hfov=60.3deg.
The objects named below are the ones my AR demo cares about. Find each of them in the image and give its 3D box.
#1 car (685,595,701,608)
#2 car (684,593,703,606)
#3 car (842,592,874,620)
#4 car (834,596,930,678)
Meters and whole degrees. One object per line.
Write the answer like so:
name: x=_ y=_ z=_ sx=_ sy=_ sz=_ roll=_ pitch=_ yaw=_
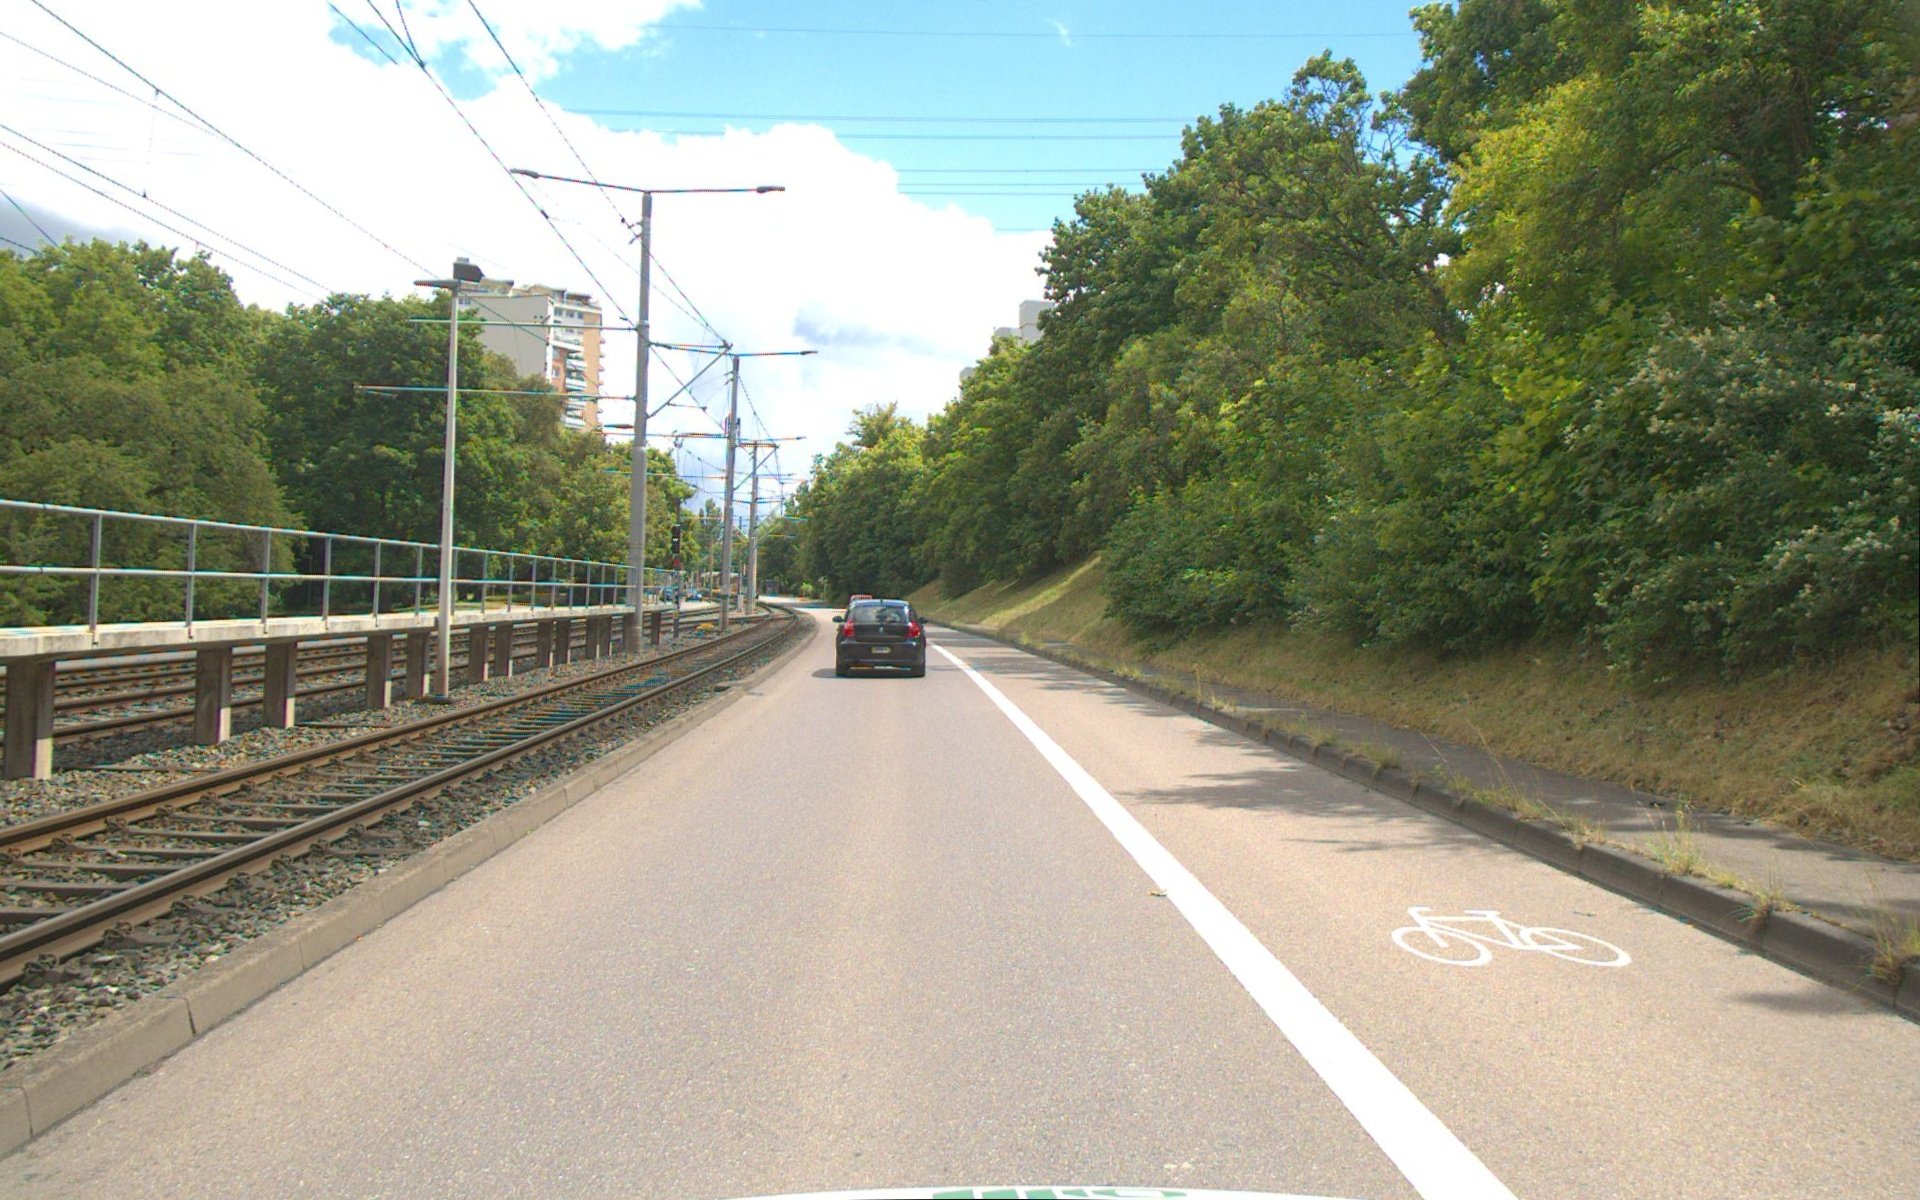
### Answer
car: x=-31.418 y=0.141 z=194.455 sx=1.742 sy=1.525 sz=3.986 roll=1 pitch=0 yaw=-11
car: x=-31.433 y=-0.077 z=195.243 sx=1.800 sy=1.415 sz=4.856 roll=-1 pitch=0 yaw=-5
car: x=-5.820 y=0.340 z=94.261 sx=1.746 sy=1.485 sz=3.918 roll=1 pitch=0 yaw=-3
car: x=-1.495 y=0.677 z=31.955 sx=1.745 sy=1.485 sz=3.919 roll=0 pitch=0 yaw=-2
